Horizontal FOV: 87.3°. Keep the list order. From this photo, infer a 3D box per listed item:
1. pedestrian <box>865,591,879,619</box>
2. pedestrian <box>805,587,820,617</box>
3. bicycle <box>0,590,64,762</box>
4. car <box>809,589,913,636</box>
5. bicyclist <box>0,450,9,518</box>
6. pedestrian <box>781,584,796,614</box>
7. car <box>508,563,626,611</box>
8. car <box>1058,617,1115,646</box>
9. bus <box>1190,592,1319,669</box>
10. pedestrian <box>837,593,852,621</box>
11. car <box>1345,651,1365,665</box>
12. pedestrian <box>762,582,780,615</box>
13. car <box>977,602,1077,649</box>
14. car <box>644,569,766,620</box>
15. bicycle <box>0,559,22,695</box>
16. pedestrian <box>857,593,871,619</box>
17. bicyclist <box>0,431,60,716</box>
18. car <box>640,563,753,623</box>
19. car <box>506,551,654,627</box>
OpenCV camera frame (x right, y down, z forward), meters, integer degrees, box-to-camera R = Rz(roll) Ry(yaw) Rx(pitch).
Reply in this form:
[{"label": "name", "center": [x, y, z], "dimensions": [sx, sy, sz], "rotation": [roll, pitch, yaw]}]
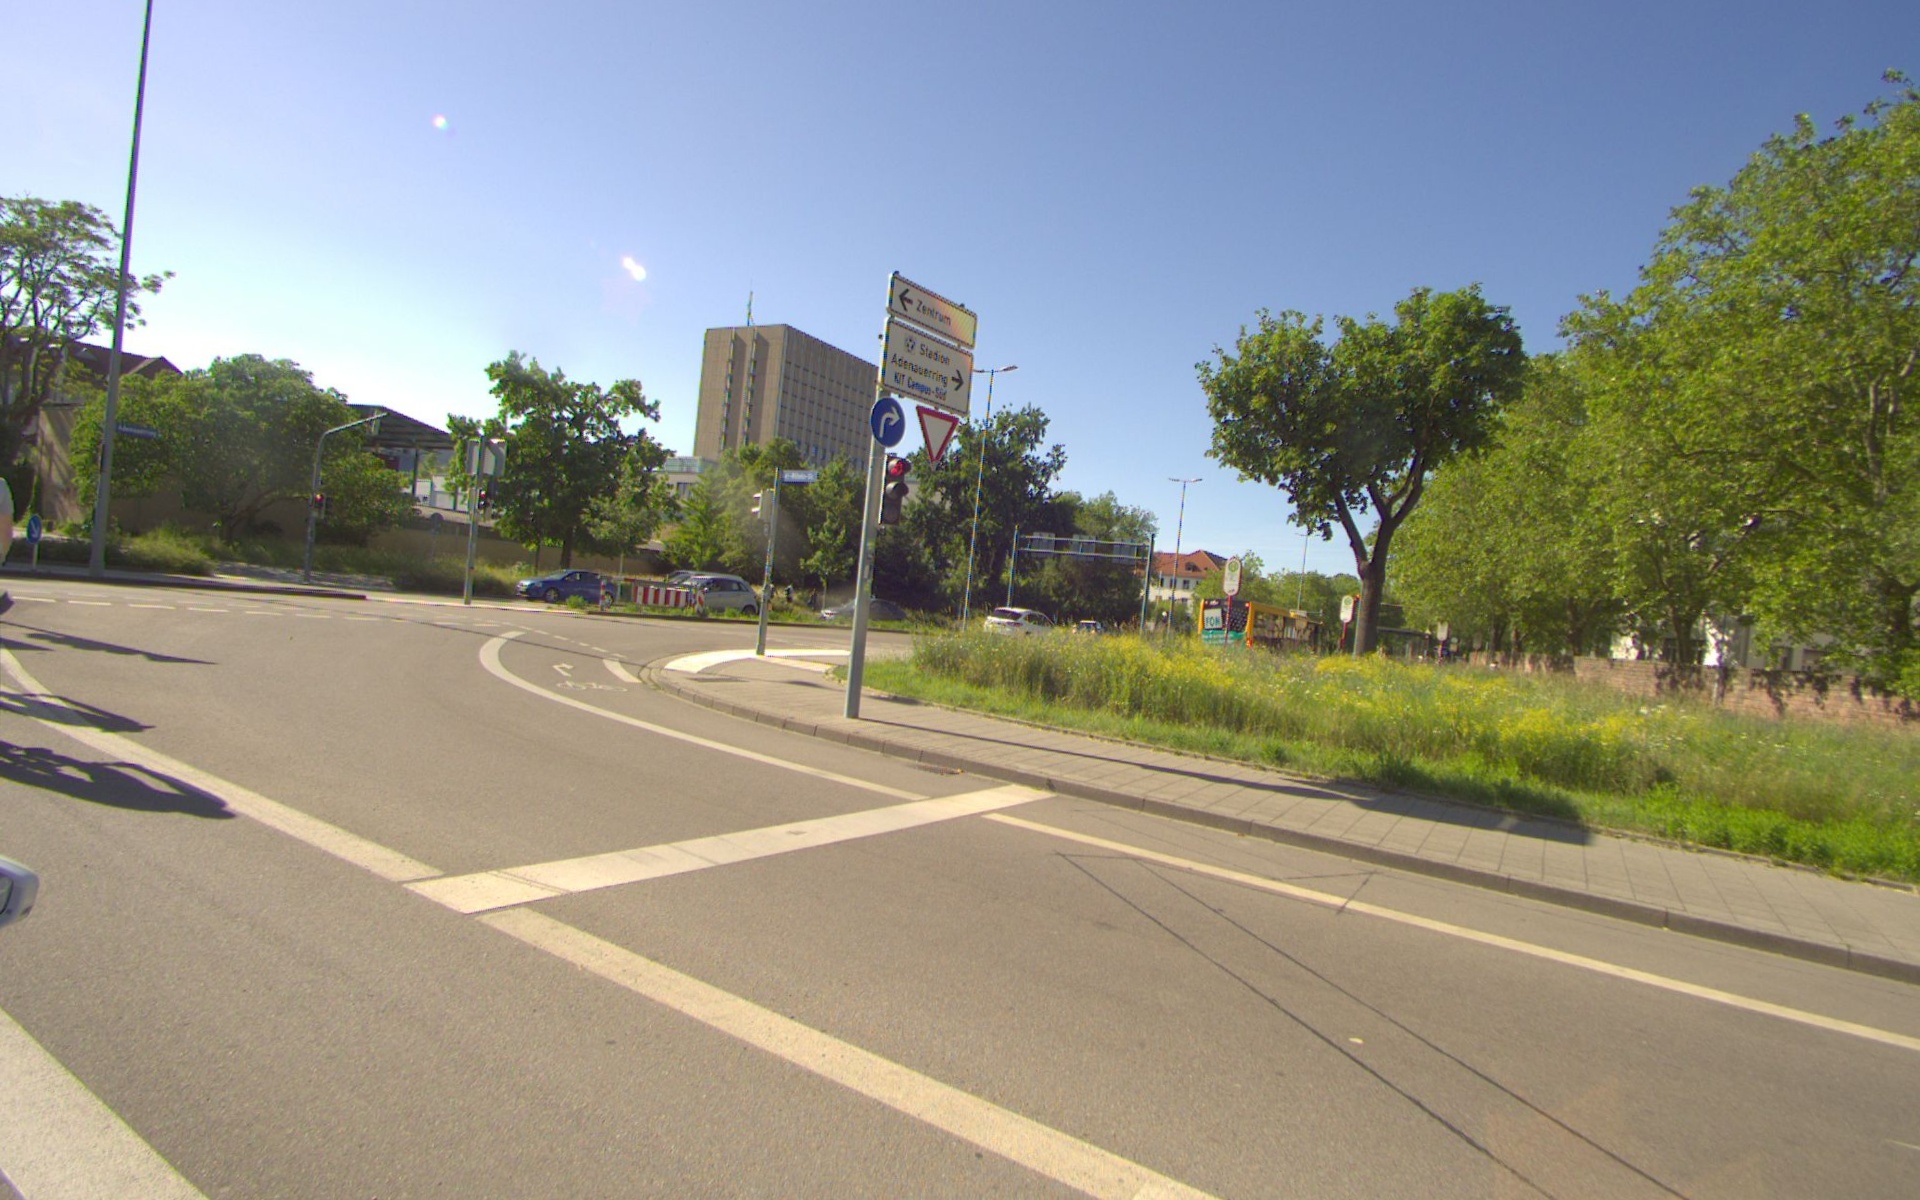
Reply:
[{"label": "pedestrian", "center": [-5.970, 0.342, 68.119], "dimensions": [0.519, 1.801, 0.561], "rotation": [7, 1, 35]}, {"label": "pedestrian", "center": [-9.204, 0.122, 62.904], "dimensions": [0.519, 1.801, 0.561], "rotation": [7, 1, 35]}, {"label": "bicycle", "center": [-6.298, 0.368, 6.099], "dimensions": [1.946, 0.906, 0.741], "rotation": [6, -2, 33]}, {"label": "car", "center": [-4.306, 0.581, 44.717], "dimensions": [1.968, 1.604, 4.736], "rotation": [6, 0, 33]}, {"label": "bicyclist", "center": [-8.139, -0.371, 7.788], "dimensions": [1.048, 1.759, 0.647], "rotation": [7, -1, 26]}, {"label": "pedestrian", "center": [-10.670, -0.066, 62.683], "dimensions": [0.519, 1.801, 0.561], "rotation": [7, 1, 35]}, {"label": "car", "center": [-16.090, -0.513, 41.349], "dimensions": [1.717, 1.453, 4.162], "rotation": [7, 0, 38]}, {"label": "car", "center": [8.724, 2.183, 68.928], "dimensions": [1.968, 1.547, 4.473], "rotation": [6, 0, 34]}, {"label": "bus", "center": [14.411, 1.600, 48.501], "dimensions": [2.753, 2.662, 10.092], "rotation": [6, -2, 35]}, {"label": "pedestrian", "center": [-7.624, 0.477, 66.421], "dimensions": [0.519, 1.801, 0.561], "rotation": [7, 1, 35]}, {"label": "car", "center": [48.544, 7.149, 123.582], "dimensions": [1.812, 1.405, 4.066], "rotation": [4, -2, 27]}, {"label": "pedestrian", "center": [-11.129, -0.080, 59.188], "dimensions": [0.702, 1.872, 0.561], "rotation": [7, 1, 35]}, {"label": "car", "center": [2.778, 1.076, 40.707], "dimensions": [1.816, 1.639, 4.686], "rotation": [3, -1, 35]}, {"label": "car", "center": [-9.432, -0.190, 37.439], "dimensions": [1.840, 1.426, 4.046], "rotation": [6, 0, 38]}, {"label": "bicycle", "center": [-8.205, 0.090, 7.783], "dimensions": [1.935, 1.014, 0.661], "rotation": [6, -1, 26]}, {"label": "pedestrian", "center": [-6.519, 0.415, 68.376], "dimensions": [0.519, 1.716, 0.561], "rotation": [7, 1, 35]}, {"label": "bicyclist", "center": [-6.222, -0.212, 6.099], "dimensions": [1.000, 1.688, 0.752], "rotation": [6, -1, 33]}, {"label": "car", "center": [-12.309, -0.272, 47.339], "dimensions": [1.968, 2.131, 4.885], "rotation": [6, -2, 34]}, {"label": "car", "center": [-14.285, -0.378, 38.083], "dimensions": [1.969, 2.186, 4.783], "rotation": [6, -2, 35]}]
